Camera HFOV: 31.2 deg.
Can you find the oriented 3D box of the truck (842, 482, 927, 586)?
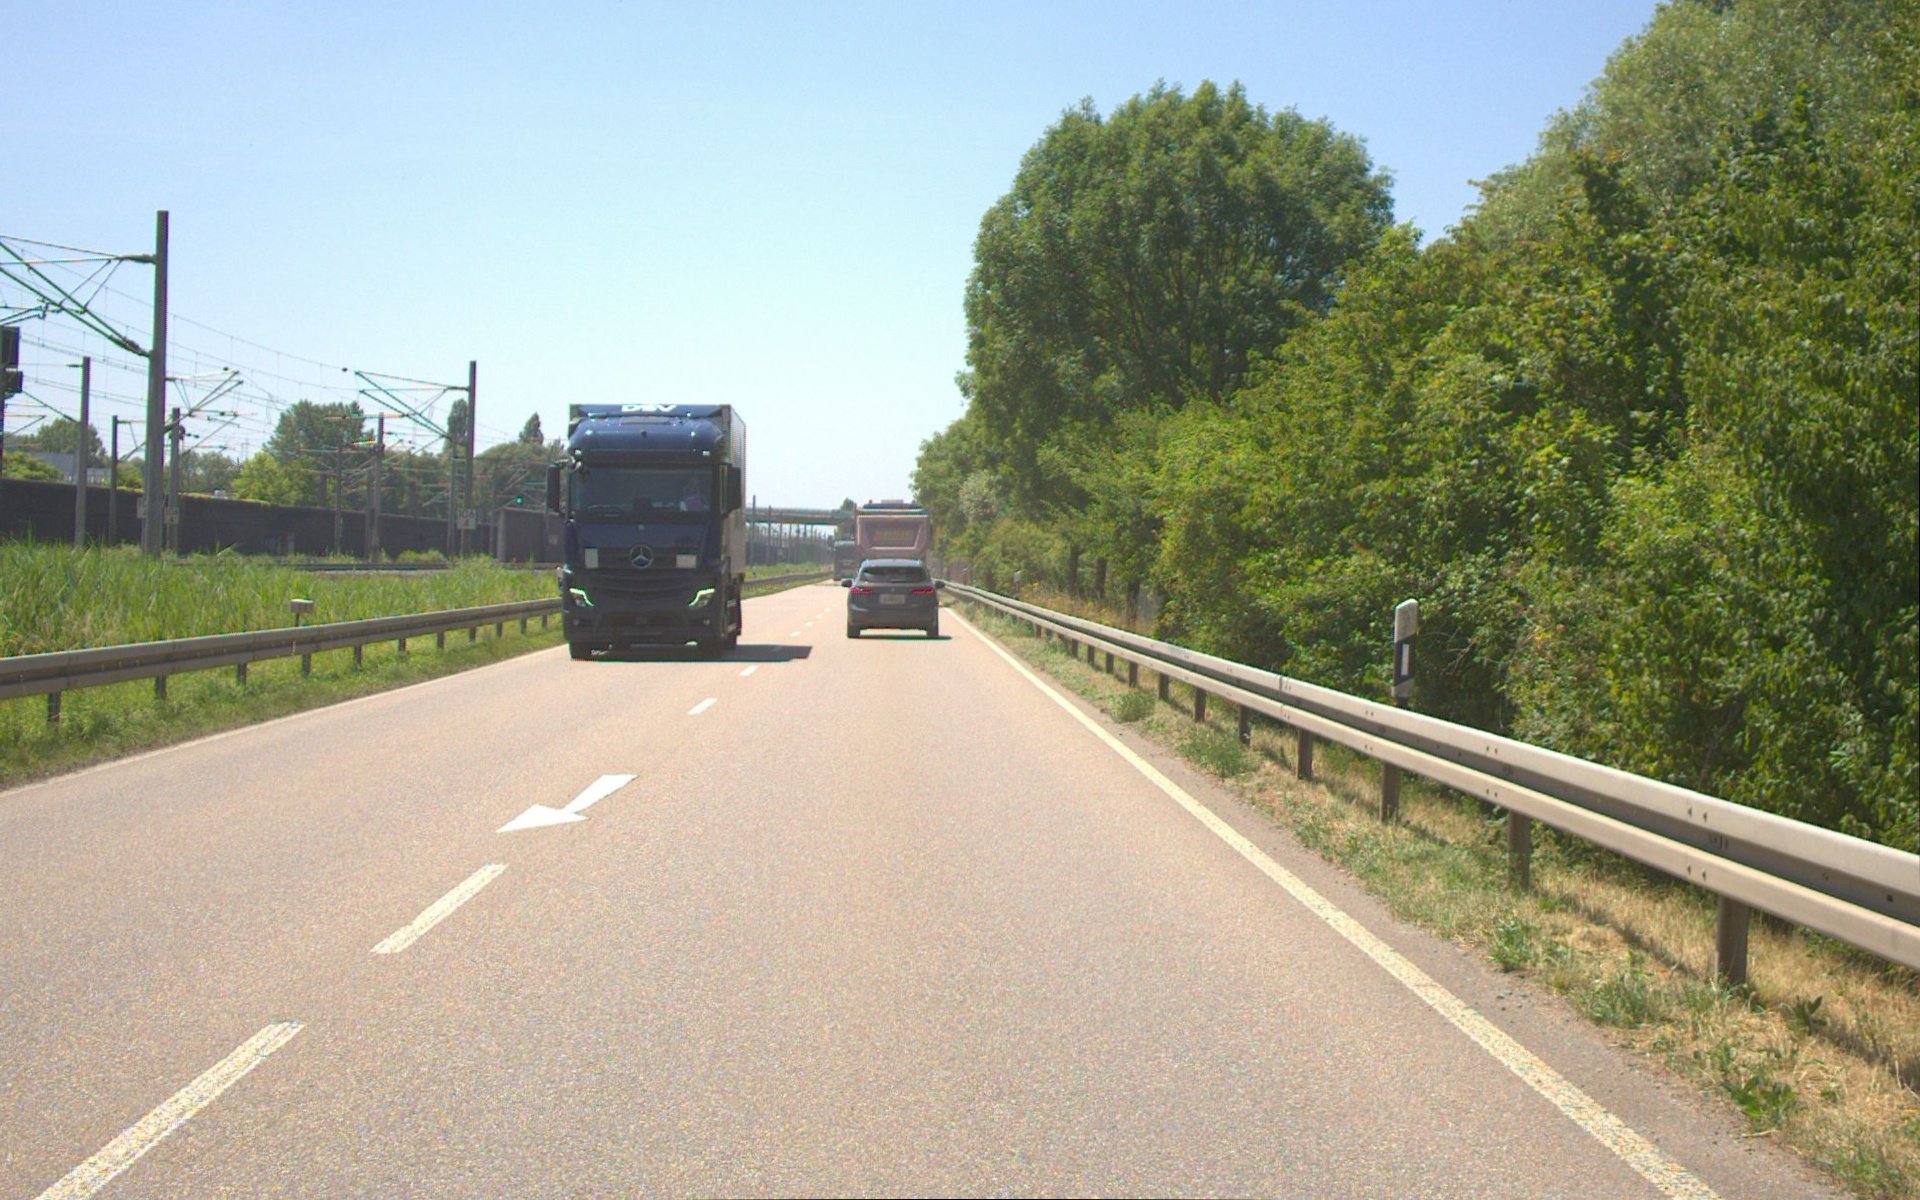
[{"bbox_3d":[-2.638,-2.235,120.118,2.770,3.414,10.820,1,0,-1],"label":"truck"}]

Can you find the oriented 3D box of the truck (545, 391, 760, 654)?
[{"bbox_3d":[-4.970,-1.259,57.401,2.797,3.964,10.501,-1,1,-1],"label":"truck"}]

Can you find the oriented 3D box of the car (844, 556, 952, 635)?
[{"bbox_3d":[-1.277,-0.117,68.662,1.993,1.503,4.001,1,1,-3],"label":"car"}]
